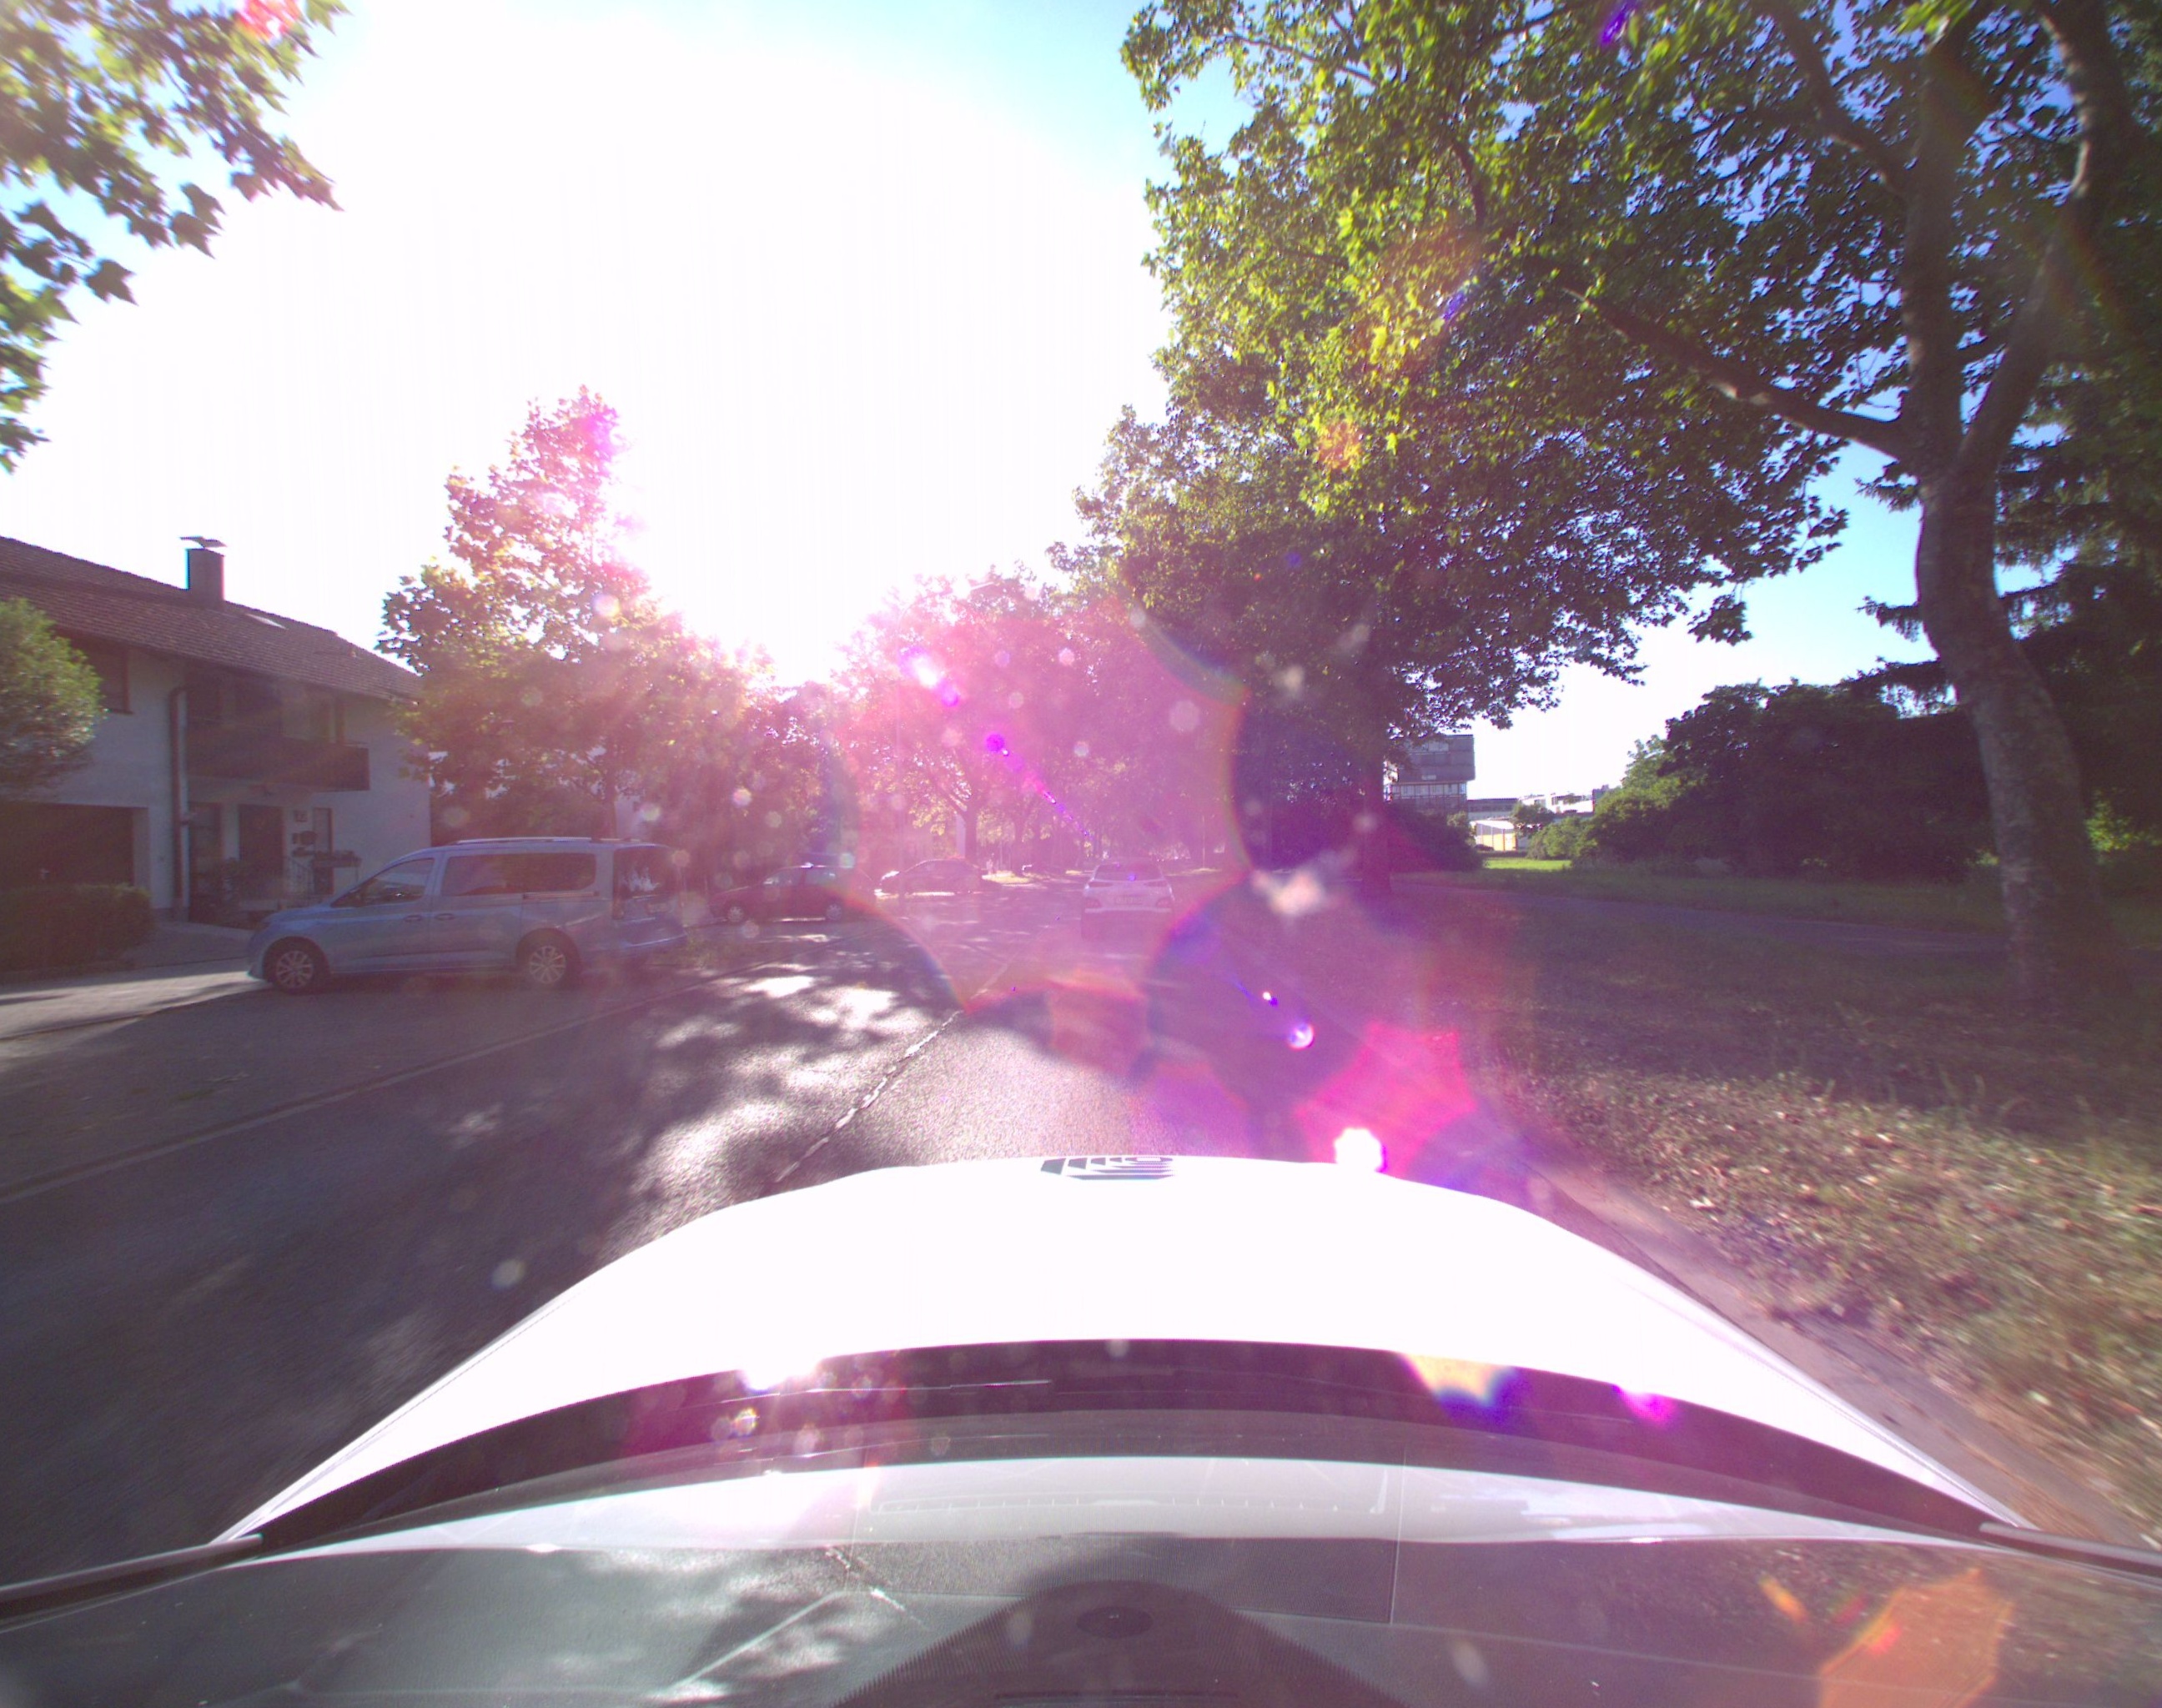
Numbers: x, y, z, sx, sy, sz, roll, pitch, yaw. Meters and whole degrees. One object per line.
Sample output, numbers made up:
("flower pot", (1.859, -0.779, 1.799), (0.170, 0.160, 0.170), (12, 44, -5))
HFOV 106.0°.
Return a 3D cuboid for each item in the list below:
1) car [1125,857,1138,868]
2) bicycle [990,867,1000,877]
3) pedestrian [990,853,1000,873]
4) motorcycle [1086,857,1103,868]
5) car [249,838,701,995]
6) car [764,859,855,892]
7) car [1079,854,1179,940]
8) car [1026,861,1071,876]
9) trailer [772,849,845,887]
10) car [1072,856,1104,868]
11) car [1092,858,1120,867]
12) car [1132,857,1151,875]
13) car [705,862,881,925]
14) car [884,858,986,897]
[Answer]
("car", (7.450, 1.255, 119.835), (1.775, 1.512, 3.844), (0, 0, 6))
("bicycle", (-7.291, 1.518, 69.147), (0.467, 0.880, 2.158), (-1, -1, 4))
("pedestrian", (-7.318, 0.769, 69.248), (0.614, 1.716, 1.066), (-1, -1, 4))
("motorcycle", (1.898, 1.200, 112.654), (2.376, 1.388, 0.648), (-1, -1, 1))
("car", (-7.644, 0.739, 10.657), (4.372, 1.824, 1.995), (0, 0, -1))
("car", (-14.100, 1.101, 42.438), (3.969, 1.477, 2.002), (3, 0, 4))
("car", (0.894, 0.825, 17.025), (1.830, 1.556, 3.999), (-1, -1, 0))
("car", (-2.853, 1.255, 72.936), (3.808, 1.316, 1.792), (0, -1, 4))
("trailer", (-15.209, 0.776, 45.586), (3.439, 1.926, 1.644), (3, 1, 2))
("car", (0.989, 1.078, 110.323), (4.166, 1.584, 2.001), (-1, -1, 2))
("car", (3.936, 1.312, 126.914), (4.220, 1.353, 1.744), (-2, -1, 5))
("car", (5.813, 1.124, 78.869), (1.669, 1.696, 3.747), (-1, 0, 3))
("car", (-7.225, 0.963, 20.721), (3.859, 1.518, 1.664), (0, 0, -1))
("car", (-6.138, 0.981, 34.528), (3.974, 1.518, 1.817), (-1, 0, 0))
